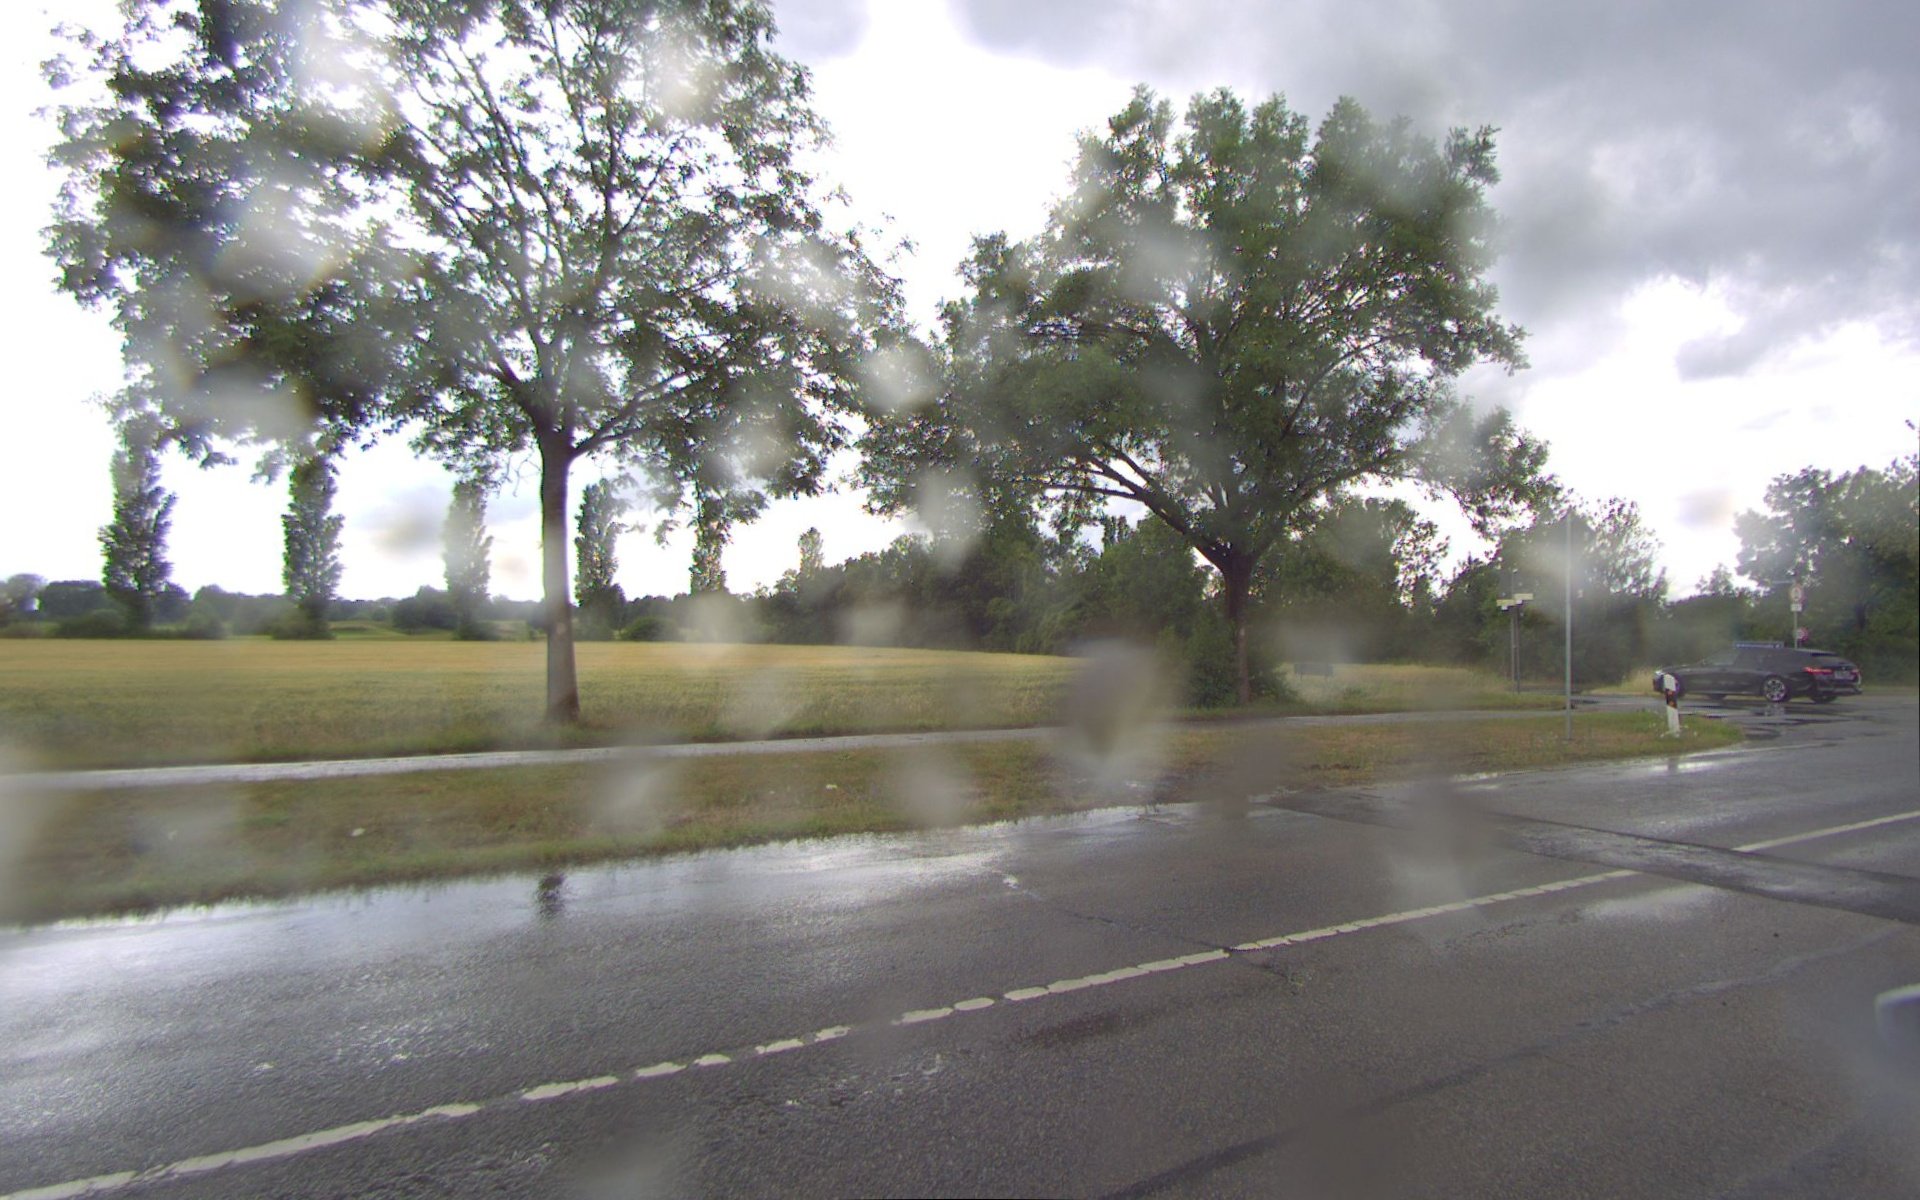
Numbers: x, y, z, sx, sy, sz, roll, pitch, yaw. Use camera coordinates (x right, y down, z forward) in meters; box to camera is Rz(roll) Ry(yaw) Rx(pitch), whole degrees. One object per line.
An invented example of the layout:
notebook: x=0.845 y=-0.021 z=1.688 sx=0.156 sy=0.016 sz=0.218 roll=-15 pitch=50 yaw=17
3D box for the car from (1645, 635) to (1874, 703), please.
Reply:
car: x=22.513 y=1.905 z=28.550 sx=2.272 sy=1.568 sz=4.616 roll=2 pitch=0 yaw=-16
